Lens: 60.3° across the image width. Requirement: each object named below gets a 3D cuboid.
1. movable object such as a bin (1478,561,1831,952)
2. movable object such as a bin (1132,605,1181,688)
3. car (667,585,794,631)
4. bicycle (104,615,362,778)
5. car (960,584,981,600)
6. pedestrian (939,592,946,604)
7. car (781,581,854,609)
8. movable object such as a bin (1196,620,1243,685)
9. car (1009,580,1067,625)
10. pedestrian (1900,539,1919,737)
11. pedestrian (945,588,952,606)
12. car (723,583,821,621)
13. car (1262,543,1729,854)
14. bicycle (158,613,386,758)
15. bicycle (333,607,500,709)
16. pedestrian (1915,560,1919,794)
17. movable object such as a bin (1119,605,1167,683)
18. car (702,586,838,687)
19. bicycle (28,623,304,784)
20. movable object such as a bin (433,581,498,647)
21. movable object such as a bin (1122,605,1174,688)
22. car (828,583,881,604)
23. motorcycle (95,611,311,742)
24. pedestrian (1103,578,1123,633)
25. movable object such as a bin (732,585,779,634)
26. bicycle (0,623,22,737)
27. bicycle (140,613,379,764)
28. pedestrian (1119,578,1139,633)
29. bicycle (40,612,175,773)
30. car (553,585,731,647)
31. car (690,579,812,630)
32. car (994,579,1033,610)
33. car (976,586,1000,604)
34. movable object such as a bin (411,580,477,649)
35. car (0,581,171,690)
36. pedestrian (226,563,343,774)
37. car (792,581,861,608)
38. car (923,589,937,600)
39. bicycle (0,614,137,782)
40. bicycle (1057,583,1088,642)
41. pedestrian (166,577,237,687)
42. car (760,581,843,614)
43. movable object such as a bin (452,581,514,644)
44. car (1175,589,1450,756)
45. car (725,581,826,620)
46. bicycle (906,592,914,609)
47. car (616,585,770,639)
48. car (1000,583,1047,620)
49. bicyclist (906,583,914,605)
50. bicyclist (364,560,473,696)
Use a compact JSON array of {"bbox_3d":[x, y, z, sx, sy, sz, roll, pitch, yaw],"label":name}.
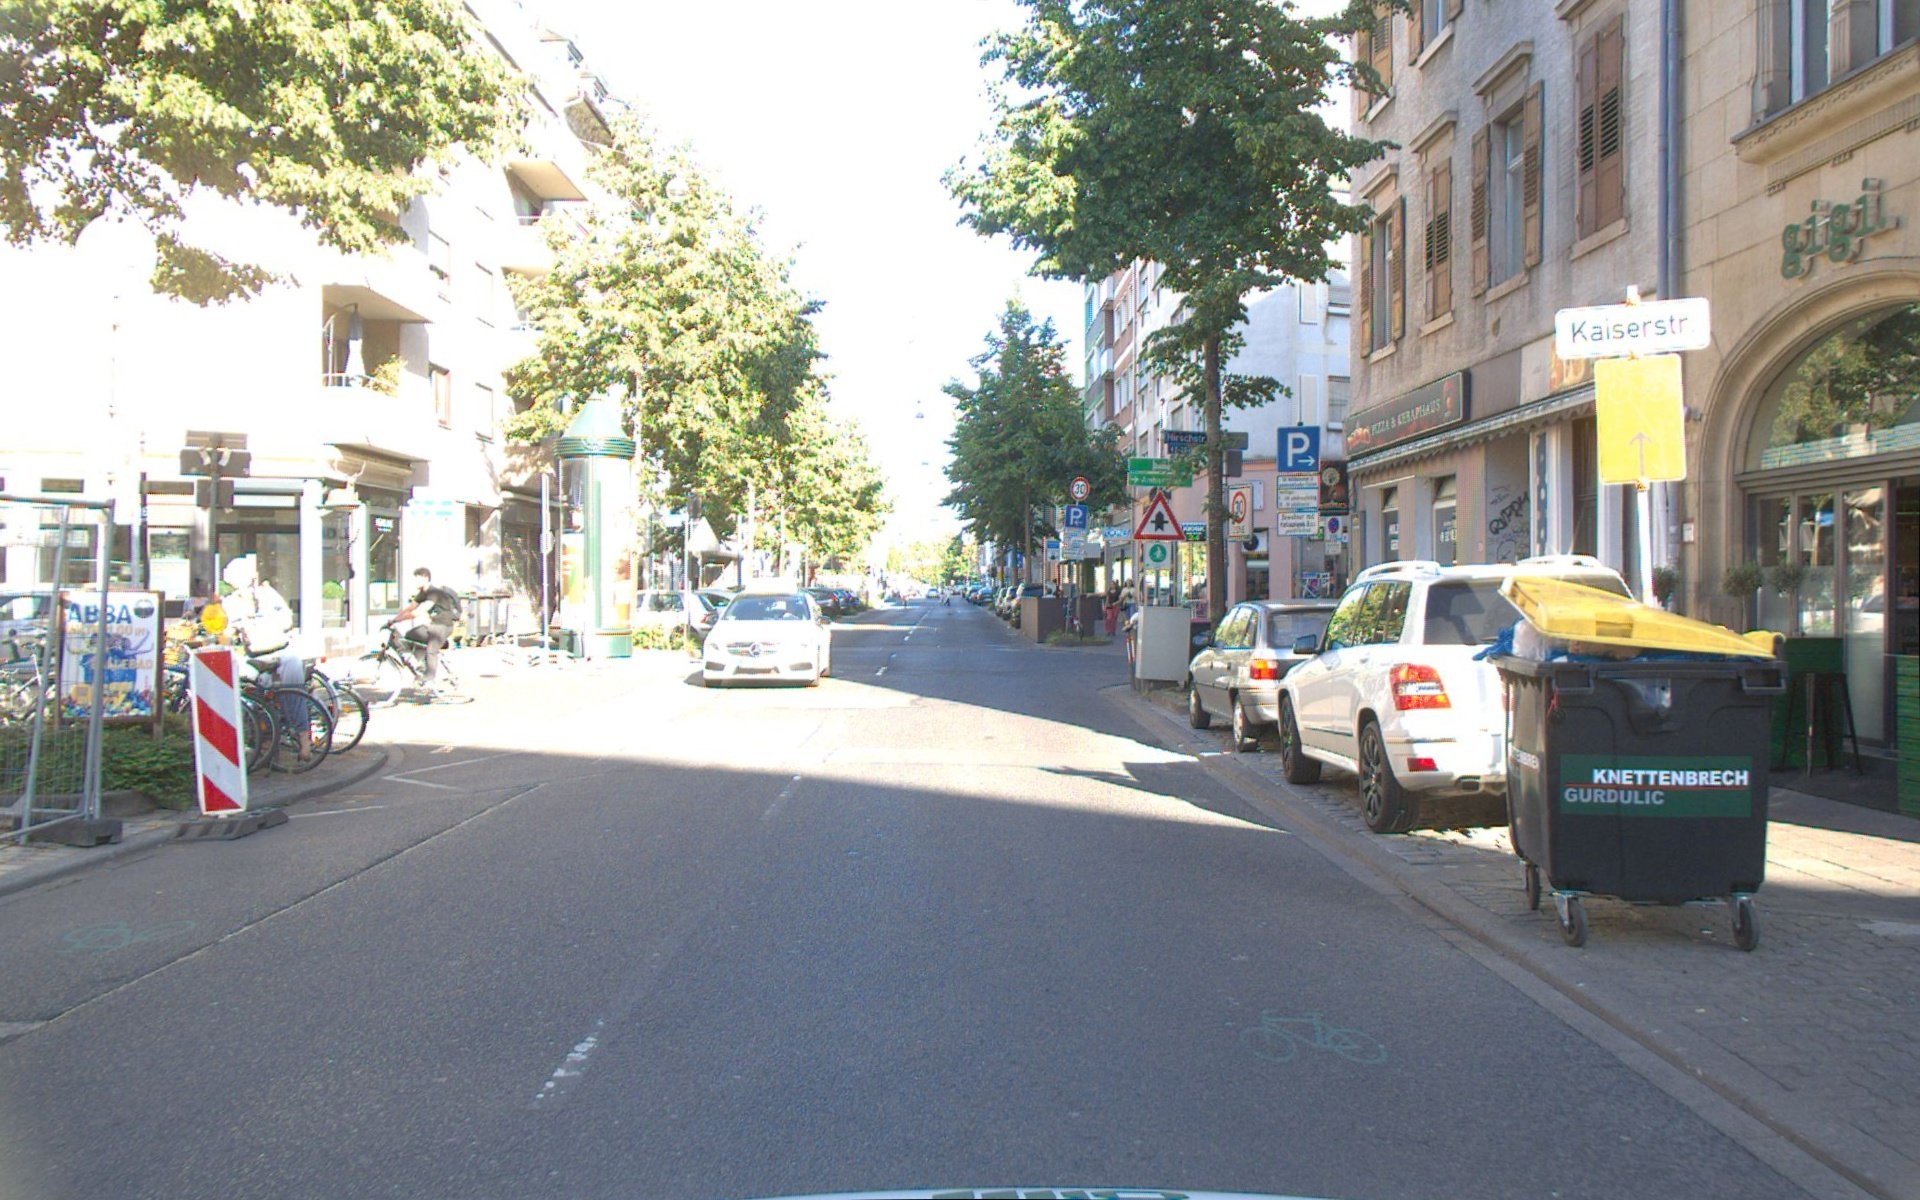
[{"bbox_3d":[3.071,0.635,7.516,1.118,1.589,1.460,-1,0,8],"label":"movable object such as a bin"},{"bbox_3d":[2.922,0.681,24.631,0.609,1.200,0.711,-1,1,-3],"label":"movable object such as a bin"},{"bbox_3d":[-7.668,0.257,55.543,3.903,1.482,1.869,-1,1,4],"label":"car"},{"bbox_3d":[-5.908,0.779,13.512,1.819,1.274,0.599,1,0,-8],"label":"bicycle"},{"bbox_3d":[1.017,-0.760,164.131,1.953,1.534,3.999,0,0,-1],"label":"car"},{"bbox_3d":[-1.459,-0.164,138.645,0.534,1.044,0.546,-1,0,-3],"label":"pedestrian"},{"bbox_3d":[-7.911,-0.295,91.876,3.906,1.526,2.000,-1,1,-2],"label":"car"},{"bbox_3d":[3.747,0.751,23.883,0.551,0.911,0.628,-1,1,-3],"label":"movable object such as a bin"},{"bbox_3d":[2.959,0.058,63.343,1.953,1.637,4.000,-1,1,-1],"label":"car"},{"bbox_3d":[8.042,0.301,13.220,0.683,1.593,0.612,-1,0,-1],"label":"pedestrian"},{"bbox_3d":[-0.955,-0.237,138.834,0.534,1.498,0.546,-1,0,-3],"label":"pedestrian"},{"bbox_3d":[-7.863,0.093,69.434,3.906,1.526,1.999,-1,-1,-2],"label":"car"},{"bbox_3d":[3.509,0.547,11.837,1.785,1.708,4.600,-3,0,0],"label":"car"},{"bbox_3d":[-6.277,0.776,15.163,1.819,1.274,0.599,1,0,-8],"label":"bicycle"},{"bbox_3d":[-7.108,0.729,21.713,0.707,1.241,2.026,0,1,38],"label":"bicycle"},{"bbox_3d":[6.706,0.514,10.723,0.598,1.567,0.699,-1,0,-1],"label":"pedestrian"},{"bbox_3d":[2.900,0.684,26.211,0.646,1.200,0.739,-1,1,-3],"label":"movable object such as a bin"},{"bbox_3d":[-2.949,0.514,26.456,1.766,1.460,4.408,0,0,-1],"label":"car"},{"bbox_3d":[-6.128,0.791,12.837,1.819,1.190,0.599,1,0,-8],"label":"bicycle"},{"bbox_3d":[-11.528,0.314,38.626,1.148,1.511,1.314,-1,1,-3],"label":"movable object such as a bin"},{"bbox_3d":[2.894,0.712,25.469,0.691,1.244,0.680,-1,1,-3],"label":"movable object such as a bin"},{"bbox_3d":[-8.022,-0.518,126.071,3.906,1.526,2.000,-1,1,-2],"label":"car"},{"bbox_3d":[-7.539,0.754,16.544,1.820,1.251,0.755,1,0,-12],"label":"motorcycle"},{"bbox_3d":[4.661,0.158,50.373,0.536,1.678,0.664,-1,1,-2],"label":"pedestrian"},{"bbox_3d":[-6.422,0.290,52.120,1.307,1.504,1.480,-1,1,-1],"label":"movable object such as a bin"},{"bbox_3d":[-9.523,0.774,15.083,0.750,1.077,1.956,0,1,3],"label":"bicycle"},{"bbox_3d":[-6.123,0.771,14.524,1.819,1.274,0.599,1,0,-8],"label":"bicycle"},{"bbox_3d":[5.219,0.158,51.006,0.535,1.678,0.664,-1,1,-1],"label":"pedestrian"},{"bbox_3d":[-7.449,0.764,14.418,0.595,1.274,1.765,0,1,-43],"label":"bicycle"},{"bbox_3d":[-7.567,0.362,39.644,3.906,1.414,2.000,-1,1,-2],"label":"car"},{"bbox_3d":[-7.341,0.148,58.346,3.903,1.724,2.001,-1,1,4],"label":"car"},{"bbox_3d":[2.856,-0.314,89.354,1.953,1.637,4.000,-1,1,-1],"label":"car"},{"bbox_3d":[2.435,-0.397,144.712,1.953,1.534,3.999,0,0,-1],"label":"car"},{"bbox_3d":[-11.587,0.307,37.168,1.117,1.511,1.235,-1,1,-3],"label":"movable object such as a bin"},{"bbox_3d":[-14.933,0.558,26.519,3.931,1.639,1.987,-1,0,-22],"label":"car"},{"bbox_3d":[-5.779,0.556,14.137,0.785,1.737,0.758,0,0,-34],"label":"pedestrian"},{"bbox_3d":[-7.892,-0.345,98.122,3.906,1.526,2.000,-1,1,-2],"label":"car"},{"bbox_3d":[-4.102,-0.712,226.916,1.756,1.436,4.000,-1,1,-1],"label":"car"},{"bbox_3d":[-7.616,0.762,13.316,1.749,1.274,0.601,1,0,11],"label":"bicycle"},{"bbox_3d":[2.954,0.309,43.678,0.549,1.465,1.628,-6,1,-1],"label":"bicycle"},{"bbox_3d":[-11.711,0.481,25.543,0.757,1.671,0.687,0,1,34],"label":"pedestrian"},{"bbox_3d":[-7.733,-0.127,81.108,3.906,1.526,2.000,-1,1,-2],"label":"car"},{"bbox_3d":[-11.603,0.294,40.254,1.148,1.511,1.314,-1,1,-3],"label":"movable object such as a bin"},{"bbox_3d":[3.483,0.639,17.157,1.785,1.415,4.300,-3,1,-1],"label":"car"},{"bbox_3d":[-7.455,0.021,67.161,3.906,1.526,2.000,-1,1,-2],"label":"car"},{"bbox_3d":[-3.598,0.017,118.881,0.549,1.200,1.628,0,0,-1],"label":"bicycle"},{"bbox_3d":[-7.286,0.309,45.434,3.906,1.414,2.000,-1,1,-2],"label":"car"},{"bbox_3d":[2.929,0.064,76.719,1.953,1.637,4.000,-1,1,-1],"label":"car"},{"bbox_3d":[-3.605,-0.464,118.898,0.549,1.575,0.728,0,0,-1],"label":"bicyclist"},{"bbox_3d":[-7.105,0.347,21.714,0.707,1.722,1.152,0,0,38],"label":"bicyclist"}]
